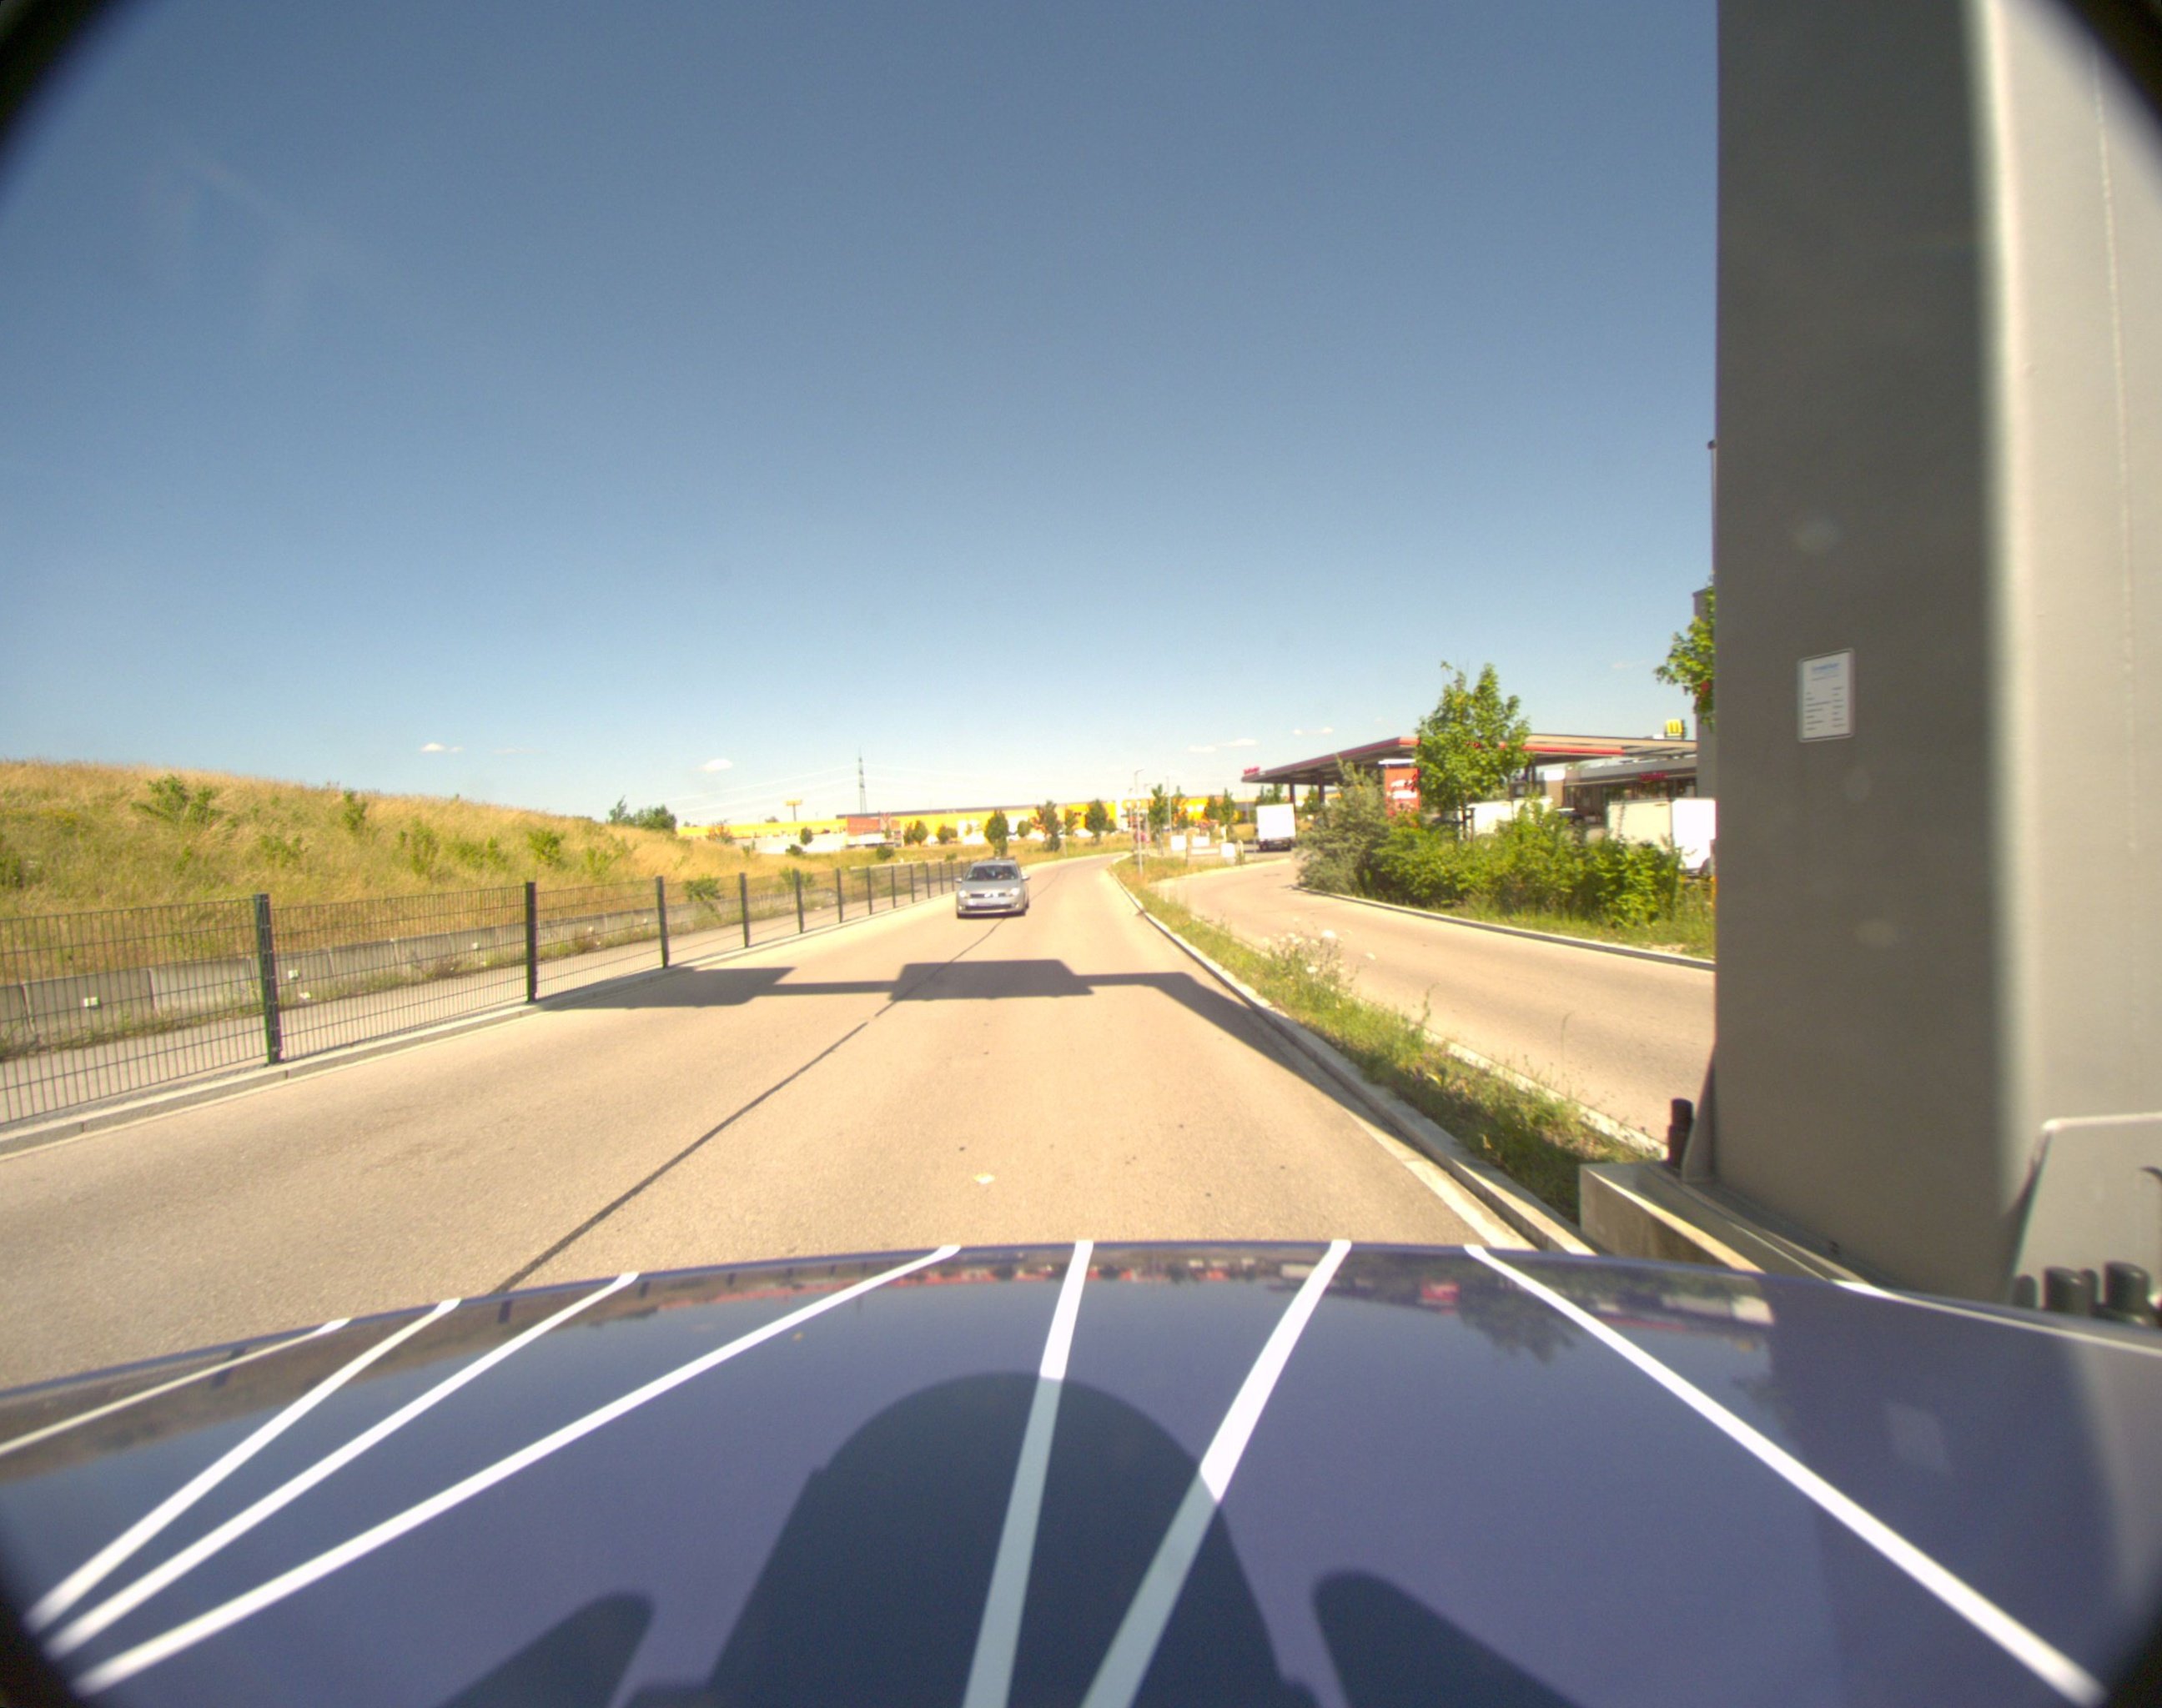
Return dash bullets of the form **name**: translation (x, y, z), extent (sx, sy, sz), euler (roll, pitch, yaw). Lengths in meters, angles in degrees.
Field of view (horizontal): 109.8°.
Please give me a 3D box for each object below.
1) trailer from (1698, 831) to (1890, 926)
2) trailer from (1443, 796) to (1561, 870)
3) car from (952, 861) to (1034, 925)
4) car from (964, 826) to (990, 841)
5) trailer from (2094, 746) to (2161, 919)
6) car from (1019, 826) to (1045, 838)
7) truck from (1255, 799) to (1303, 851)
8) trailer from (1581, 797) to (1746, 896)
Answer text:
- **trailer**: translation (14.066, 0.422, 14.968), extent (3.604, 1.502, 1.597), euler (-4, 1, -27)
- **trailer**: translation (12.715, -0.635, 22.910), extent (3.212, 2.002, 1.995), euler (-5, 2, -39)
- **car**: translation (-2.315, 0.988, 20.850), extent (1.746, 1.460, 3.959), euler (-1, 1, 0)
- **car**: translation (-19.447, -3.793, 141.935), extent (4.635, 2.534, 1.999), euler (-4, 2, -5)
- **trailer**: translation (14.105, -0.353, 9.281), extent (3.244, 2.002, 1.744), euler (-4, 2, -31)
- **car**: translation (-9.209, -4.078, 142.298), extent (4.635, 2.002, 1.999), euler (-4, 2, -5)
- **truck**: translation (13.975, -2.044, 54.056), extent (2.638, 3.299, 6.909), euler (-3, 1, 11)
- **trailer**: translation (13.452, -0.192, 17.585), extent (2.740, 2.002, 1.996), euler (-4, 2, -27)
